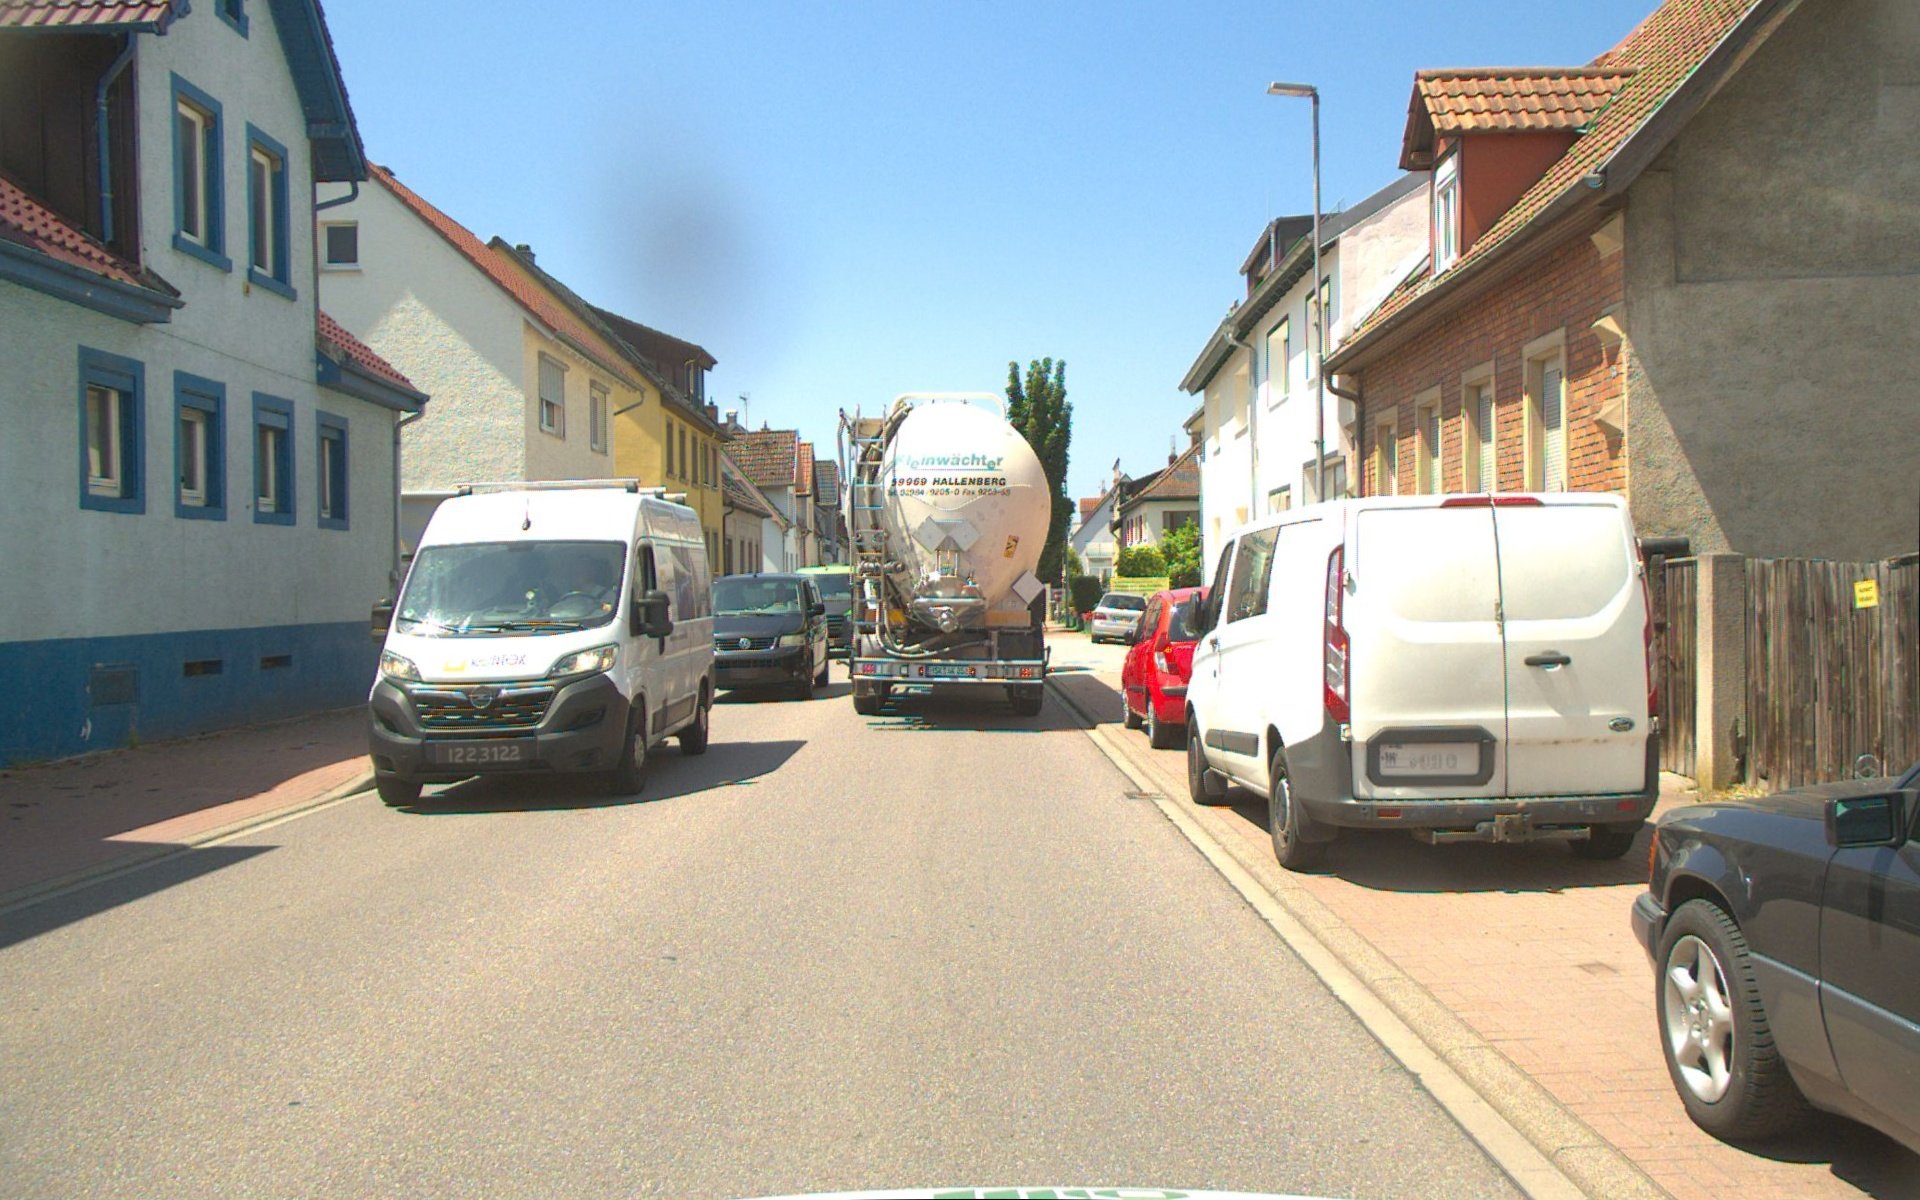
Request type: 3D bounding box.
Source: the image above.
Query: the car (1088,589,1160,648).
[{"bbox_3d":[4.846,0.495,48.227,1.776,1.488,4.889,4,1,8],"label":"car"}]

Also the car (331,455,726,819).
[{"bbox_3d":[-3.527,0.253,14.778,2.082,2.586,5.461,-2,0,-1],"label":"car"}]

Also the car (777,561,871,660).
[{"bbox_3d":[-3.538,0.240,44.110,2.009,2.395,6.080,-2,0,-1],"label":"car"}]

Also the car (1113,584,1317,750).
[{"bbox_3d":[2.618,0.629,17.719,1.577,1.555,3.676,-1,0,0],"label":"car"}]

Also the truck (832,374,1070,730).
[{"bbox_3d":[-0.181,-0.526,22.934,2.677,4.029,8.139,1,0,-1],"label":"truck"}]

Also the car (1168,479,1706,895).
[{"bbox_3d":[2.664,0.414,10.563,1.907,2.005,4.783,-1,0,-2],"label":"car"}]

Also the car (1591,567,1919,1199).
[{"bbox_3d":[2.888,0.659,2.908,1.734,1.491,4.577,-1,0,-1],"label":"car"}]

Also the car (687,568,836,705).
[{"bbox_3d":[-3.136,0.537,27.130,1.843,1.977,5.117,-2,0,-1],"label":"car"}]
